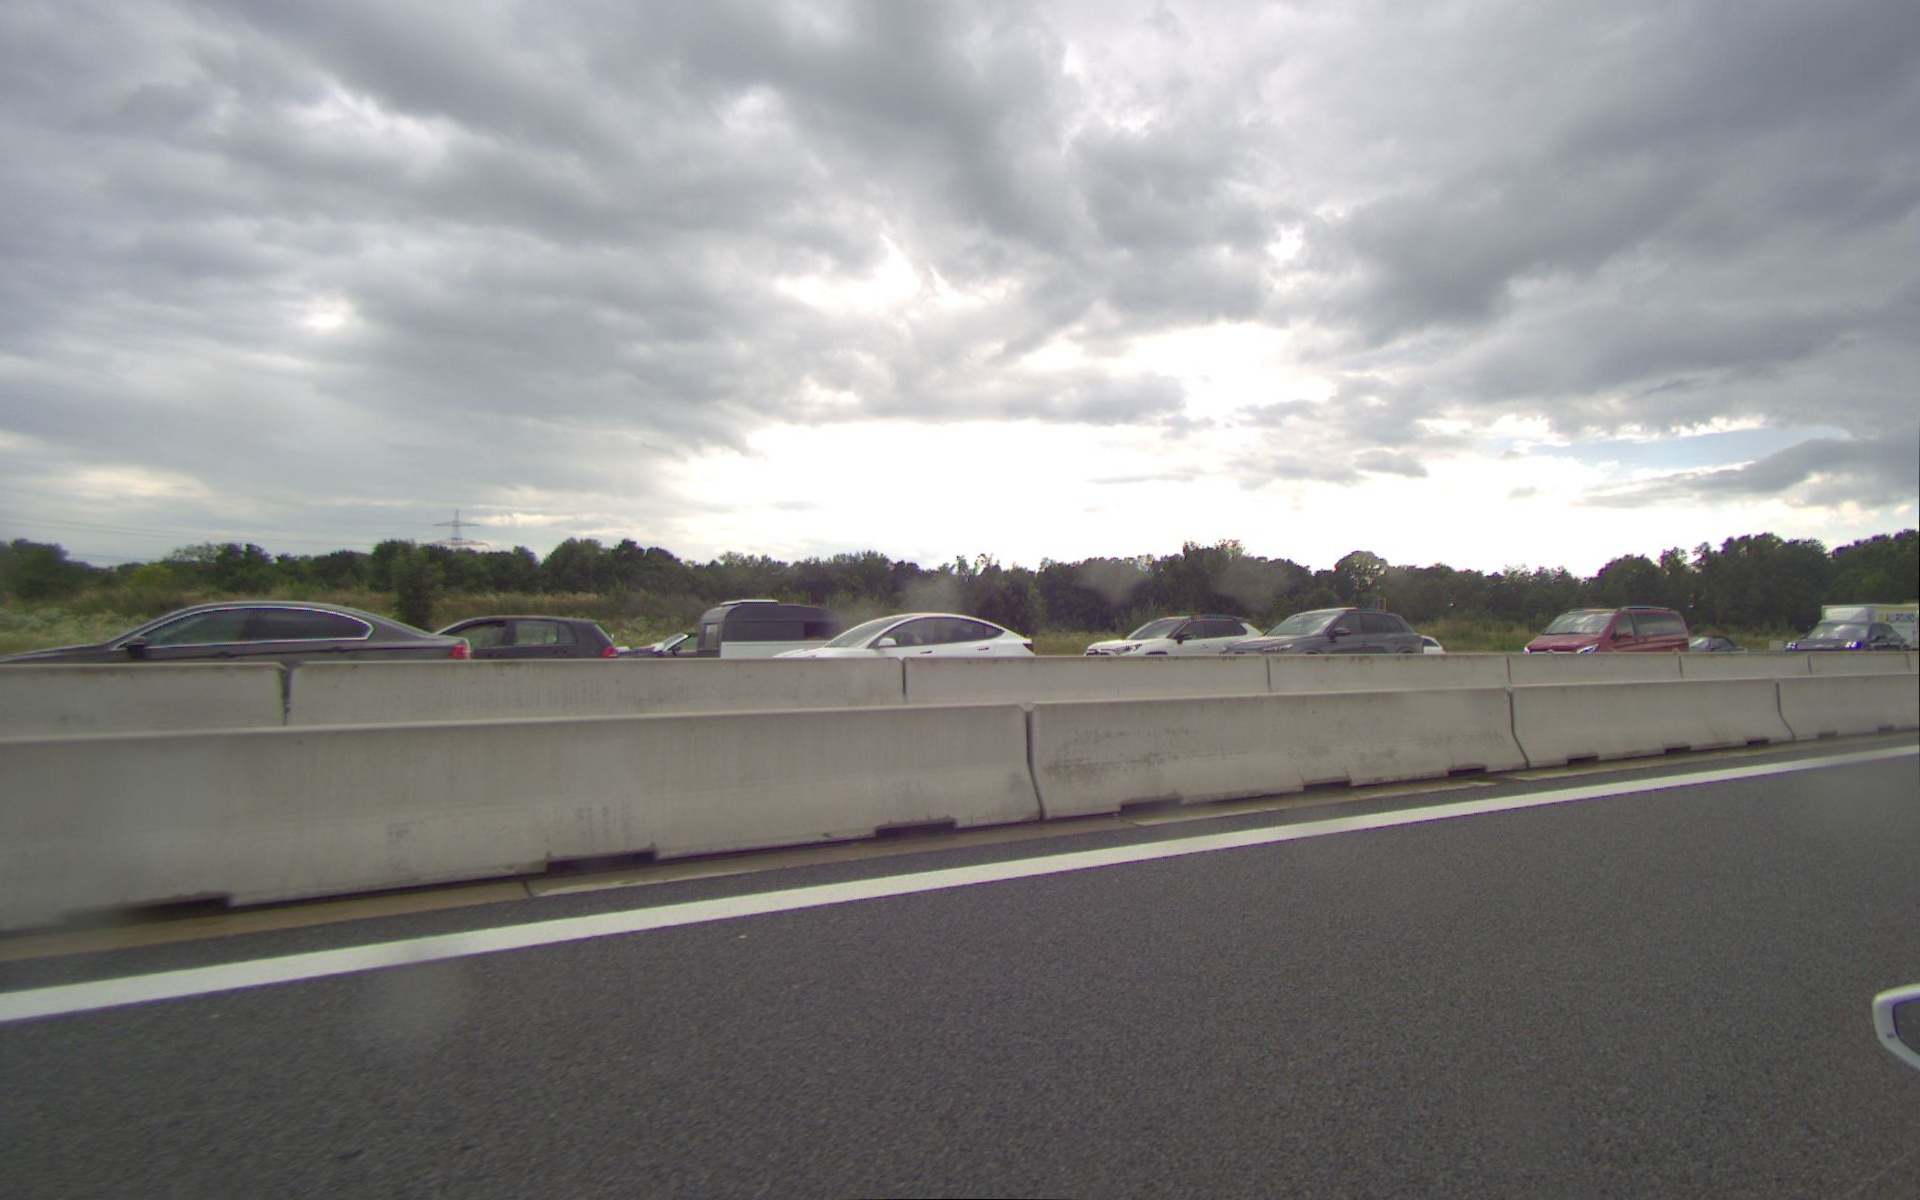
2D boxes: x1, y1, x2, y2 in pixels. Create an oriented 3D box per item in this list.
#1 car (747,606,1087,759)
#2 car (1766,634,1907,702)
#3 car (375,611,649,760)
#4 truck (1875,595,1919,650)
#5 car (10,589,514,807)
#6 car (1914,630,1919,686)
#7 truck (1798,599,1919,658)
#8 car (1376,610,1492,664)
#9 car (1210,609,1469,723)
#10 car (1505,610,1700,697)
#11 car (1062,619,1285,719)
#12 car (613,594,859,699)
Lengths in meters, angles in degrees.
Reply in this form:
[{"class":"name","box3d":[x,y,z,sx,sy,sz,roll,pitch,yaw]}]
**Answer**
[{"class":"car","box3d":[-0.603,1.165,15.577,4.913,2.040,1.984,1,0,-30]},{"class":"car","box3d":[27.603,2.084,31.611,4.449,1.929,1.984,1,0,-30]},{"class":"car","box3d":[-6.949,1.230,15.647,3.667,2.040,1.984,1,0,-30]},{"class":"truck","box3d":[68.731,1.632,71.025,10.186,3.660,2.866,1,-1,-29]},{"class":"car","box3d":[-7.497,0.959,11.353,4.298,2.040,1.984,1,0,-30]},{"class":"car","box3d":[37.574,2.165,37.234,4.631,2.040,1.984,1,0,-30]},{"class":"truck","box3d":[54.184,1.710,60.343,9.092,3.334,2.896,1,0,-30]},{"class":"car","box3d":[19.190,1.477,40.612,4.631,2.040,1.984,1,0,-30]},{"class":"car","box3d":[7.753,1.256,20.376,5.354,2.040,1.984,1,0,-30]},{"class":"car","box3d":[16.527,1.315,25.746,5.354,2.040,1.984,1,0,-30]},{"class":"car","box3d":[4.893,1.486,22.808,4.913,2.040,1.984,1,0,-30]},{"class":"car","box3d":[-4.737,0.949,21.376,4.765,2.040,1.986,1,0,-28]}]
